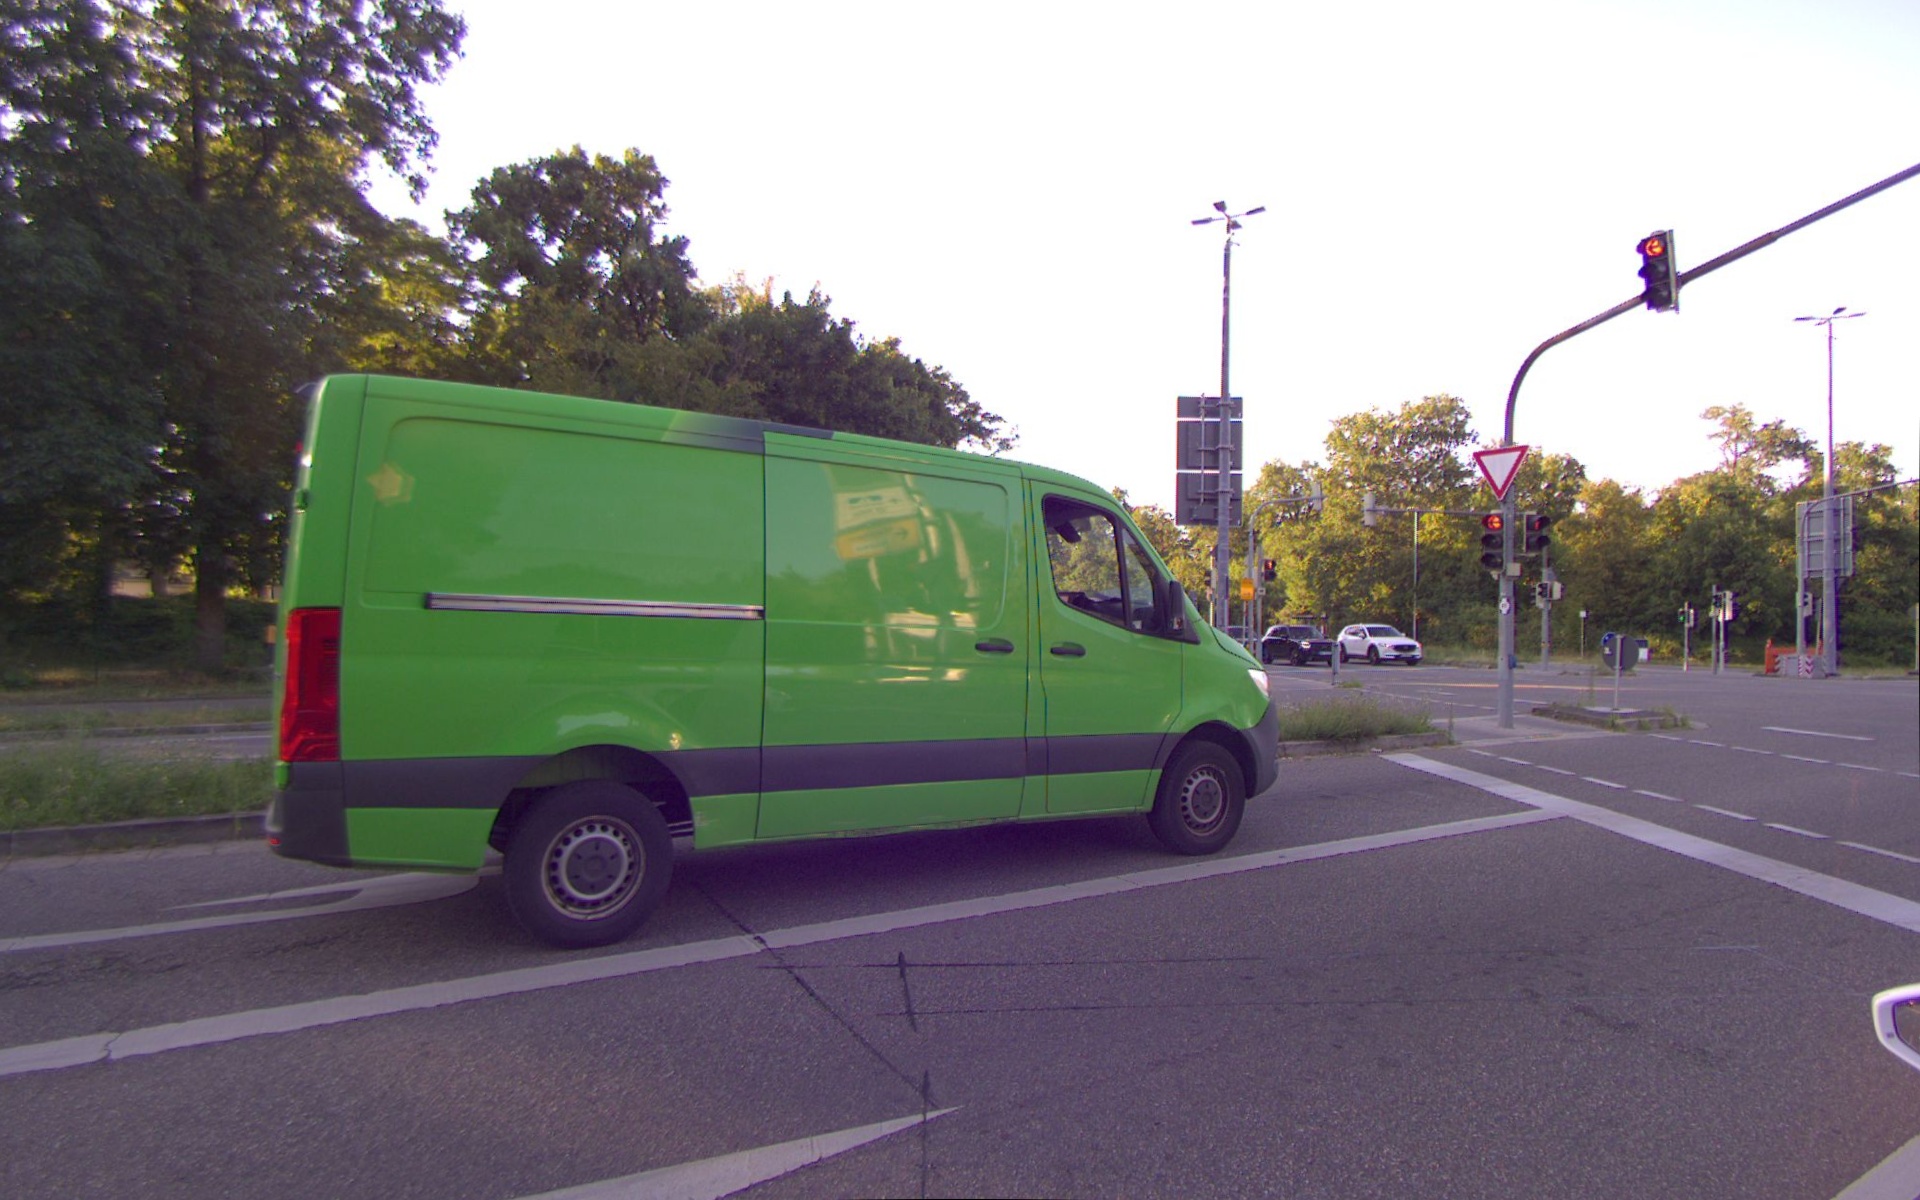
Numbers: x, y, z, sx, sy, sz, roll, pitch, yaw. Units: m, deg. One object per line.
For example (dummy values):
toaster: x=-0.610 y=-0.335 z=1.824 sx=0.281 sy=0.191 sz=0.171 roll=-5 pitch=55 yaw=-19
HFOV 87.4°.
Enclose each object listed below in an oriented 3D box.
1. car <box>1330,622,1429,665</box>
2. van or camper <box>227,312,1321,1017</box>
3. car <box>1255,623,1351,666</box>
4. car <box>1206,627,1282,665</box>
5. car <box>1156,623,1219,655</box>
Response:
car: x=17.502 y=1.786 z=42.112 sx=1.963 sy=1.661 sz=4.252 roll=1 pitch=-1 yaw=-8
van or camper: x=-0.587 y=0.297 z=5.915 sx=5.831 sy=2.453 sz=1.982 roll=2 pitch=-1 yaw=-33
car: x=13.815 y=1.758 z=40.706 sx=1.963 sy=1.661 sz=4.252 roll=1 pitch=-1 yaw=-8
car: x=13.506 y=2.164 z=48.054 sx=1.963 sy=1.661 sz=4.252 roll=1 pitch=-1 yaw=-8
car: x=12.694 y=2.147 z=56.208 sx=1.964 sy=1.661 sz=4.250 roll=1 pitch=-1 yaw=-10
